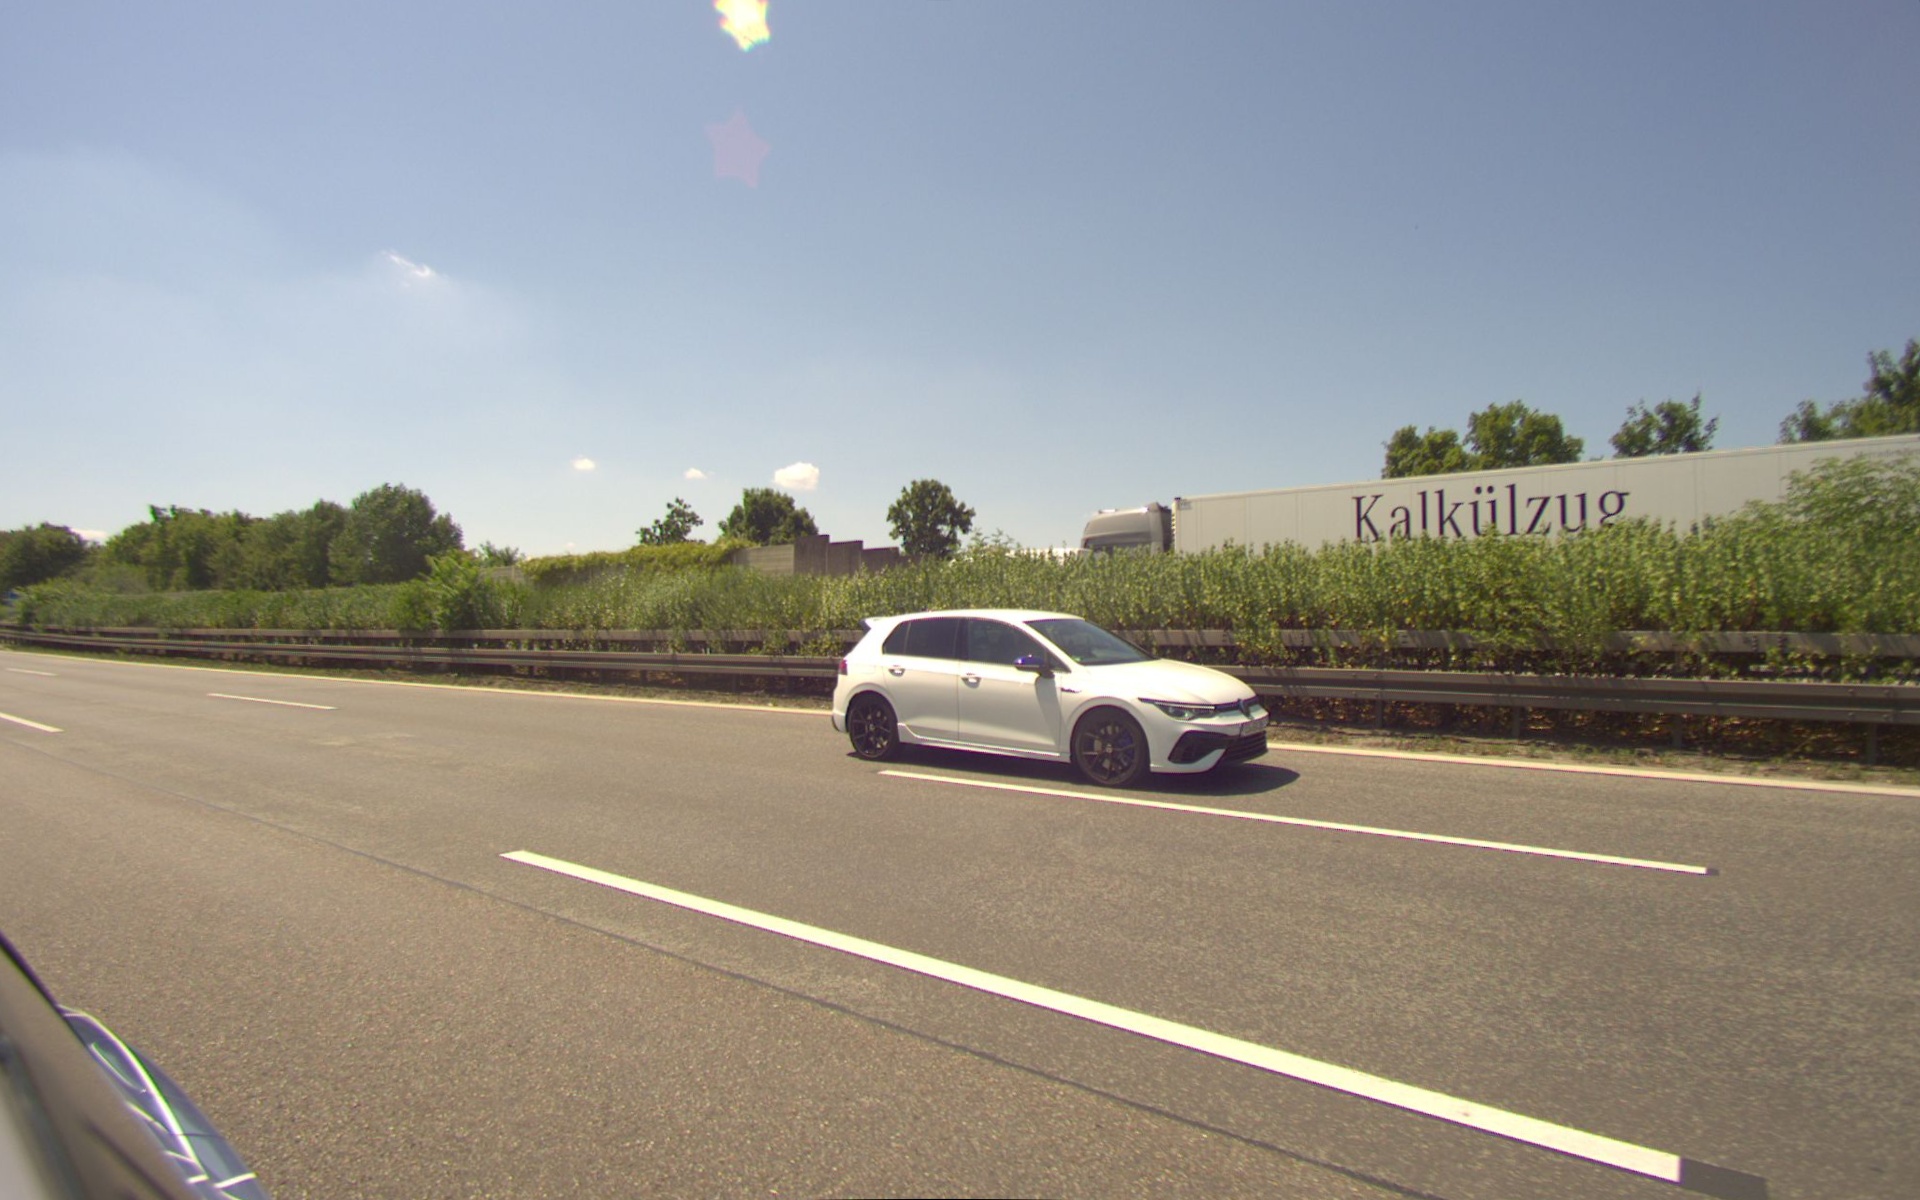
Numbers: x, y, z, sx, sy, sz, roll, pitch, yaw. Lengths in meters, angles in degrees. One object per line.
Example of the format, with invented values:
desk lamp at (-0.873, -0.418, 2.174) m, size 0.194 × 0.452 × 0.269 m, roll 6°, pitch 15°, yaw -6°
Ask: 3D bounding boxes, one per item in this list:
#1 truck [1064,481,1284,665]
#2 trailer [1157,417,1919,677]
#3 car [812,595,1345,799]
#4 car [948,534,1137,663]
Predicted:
truck at (5.356, -0.568, 25.549) m, size 4.741 × 4.187 × 2.581 m, roll -2°, pitch -1°, yaw 38°
trailer at (11.163, -0.719, 21.058) m, size 14.207 × 4.165 × 2.581 m, roll -1°, pitch -1°, yaw 38°
car at (0.891, 0.750, 9.348) m, size 4.663 × 1.451 × 1.764 m, roll -2°, pitch -2°, yaw 39°
car at (1.888, 0.011, 23.794) m, size 3.994 × 2.786 × 1.975 m, roll -2°, pitch -1°, yaw 38°
